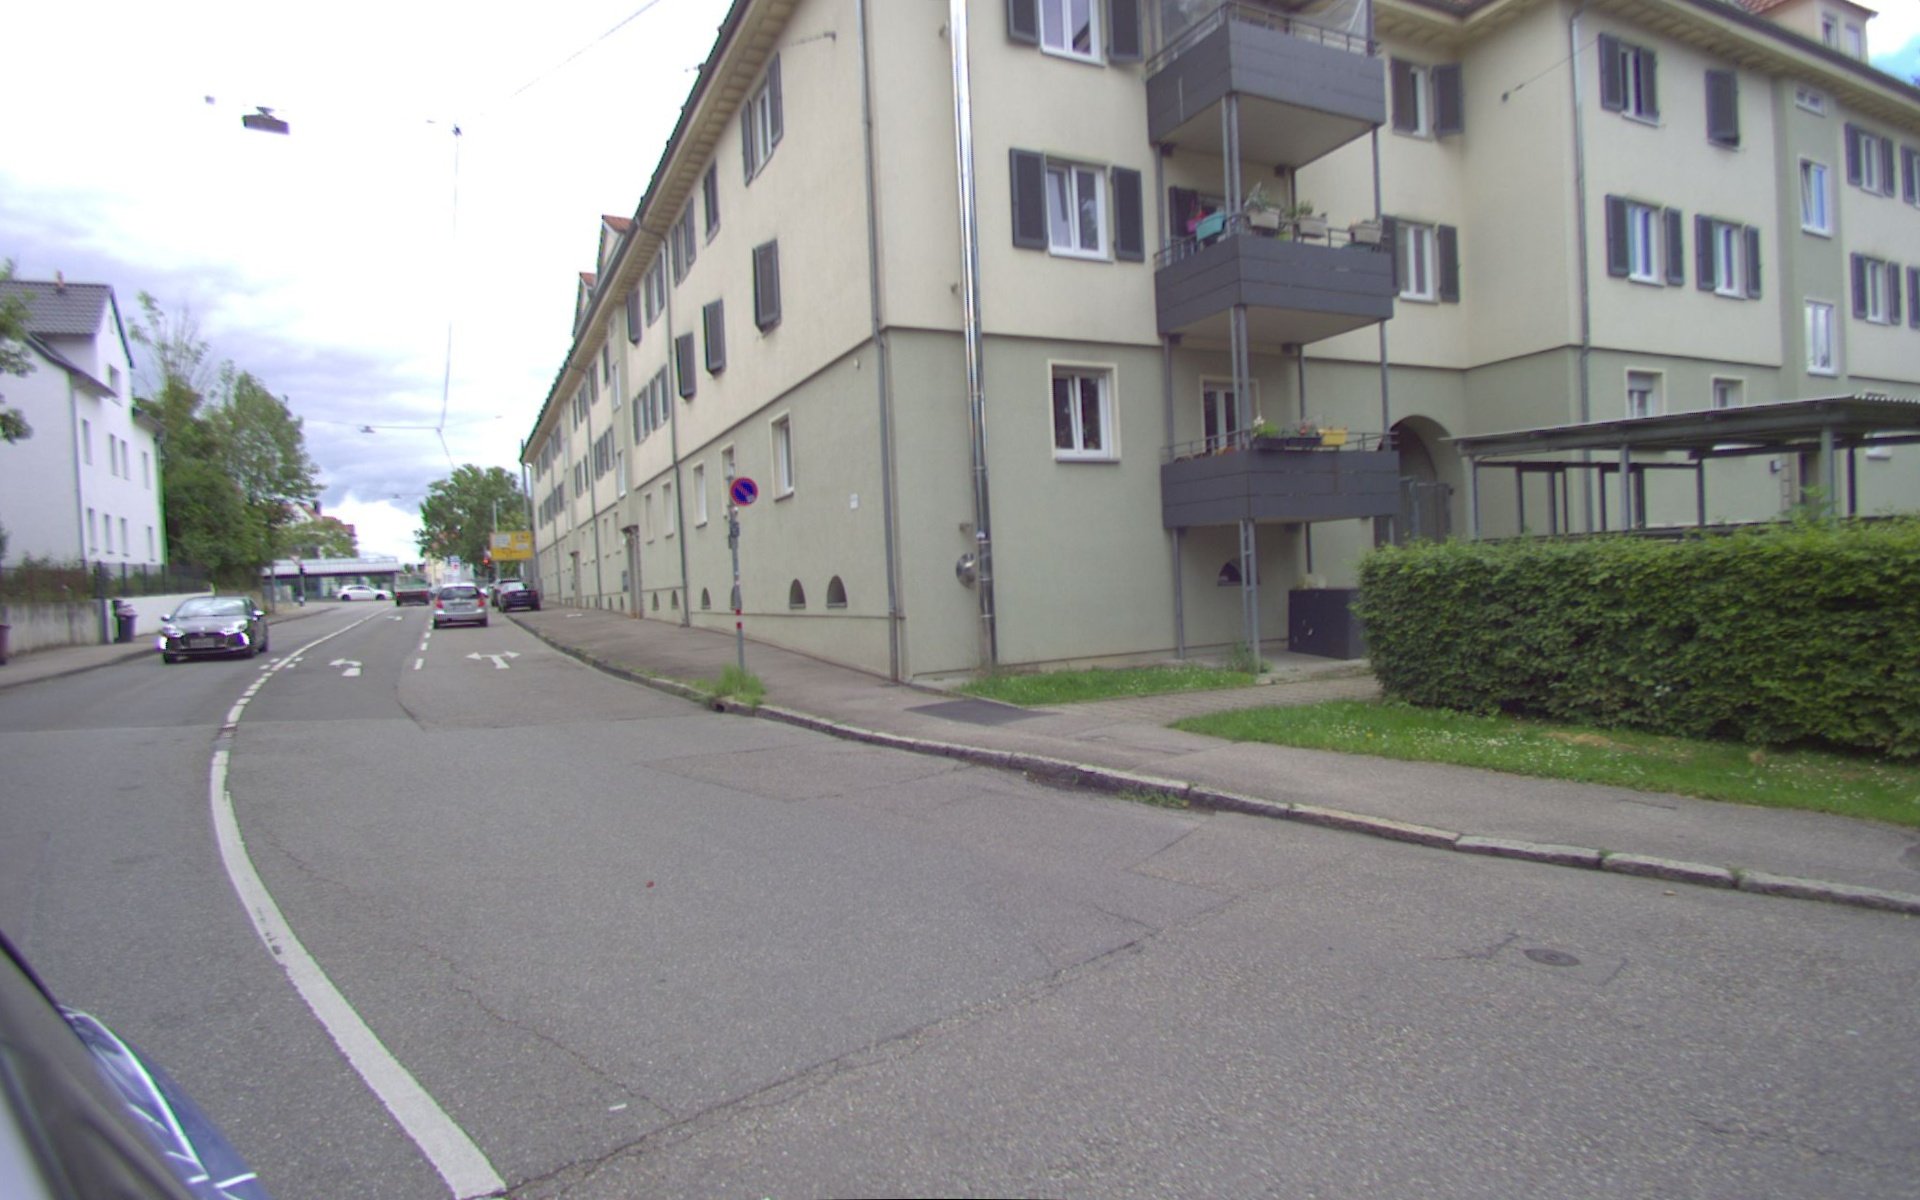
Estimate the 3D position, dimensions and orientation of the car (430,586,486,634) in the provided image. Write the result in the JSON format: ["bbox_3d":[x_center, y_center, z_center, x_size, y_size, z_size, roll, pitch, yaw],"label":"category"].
[{"bbox_3d":[-18.351,0.323,36.967,1.698,1.617,3.990,-2,1,-27],"label":"car"}]

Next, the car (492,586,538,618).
[{"bbox_3d":[-21.985,0.067,49.885,1.686,1.413,4.862,-3,2,-28],"label":"car"}]

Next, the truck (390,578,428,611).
[{"bbox_3d":[-39.052,-0.426,71.822,2.091,2.218,6.611,-1,1,-26],"label":"truck"}]

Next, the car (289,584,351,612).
[{"bbox_3d":[-49.519,-0.190,78.399,3.932,2.028,2.006,-2,2,-31],"label":"car"}]

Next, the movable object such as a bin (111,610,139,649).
[{"bbox_3d":[-26.024,0.904,31.545,0.520,1.187,0.636,1,0,-28],"label":"movable object such as a bin"}]

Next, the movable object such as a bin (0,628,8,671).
[{"bbox_3d":[-21.354,1.082,22.273,0.454,0.931,0.568,1,0,-28],"label":"movable object such as a bin"}]

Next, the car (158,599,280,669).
[{"bbox_3d":[-17.424,0.740,23.969,1.619,1.408,3.794,-2,2,-26],"label":"car"}]

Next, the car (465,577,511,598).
[{"bbox_3d":[-47.817,-1.287,102.586,3.933,2.028,2.006,-2,2,-33],"label":"car"}]

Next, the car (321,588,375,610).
[{"bbox_3d":[-54.566,-0.114,90.270,3.931,1.740,2.007,-2,2,-27],"label":"car"}]

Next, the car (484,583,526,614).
[{"bbox_3d":[-26.842,-0.090,59.633,1.797,1.645,4.711,-4,2,-29],"label":"car"}]
